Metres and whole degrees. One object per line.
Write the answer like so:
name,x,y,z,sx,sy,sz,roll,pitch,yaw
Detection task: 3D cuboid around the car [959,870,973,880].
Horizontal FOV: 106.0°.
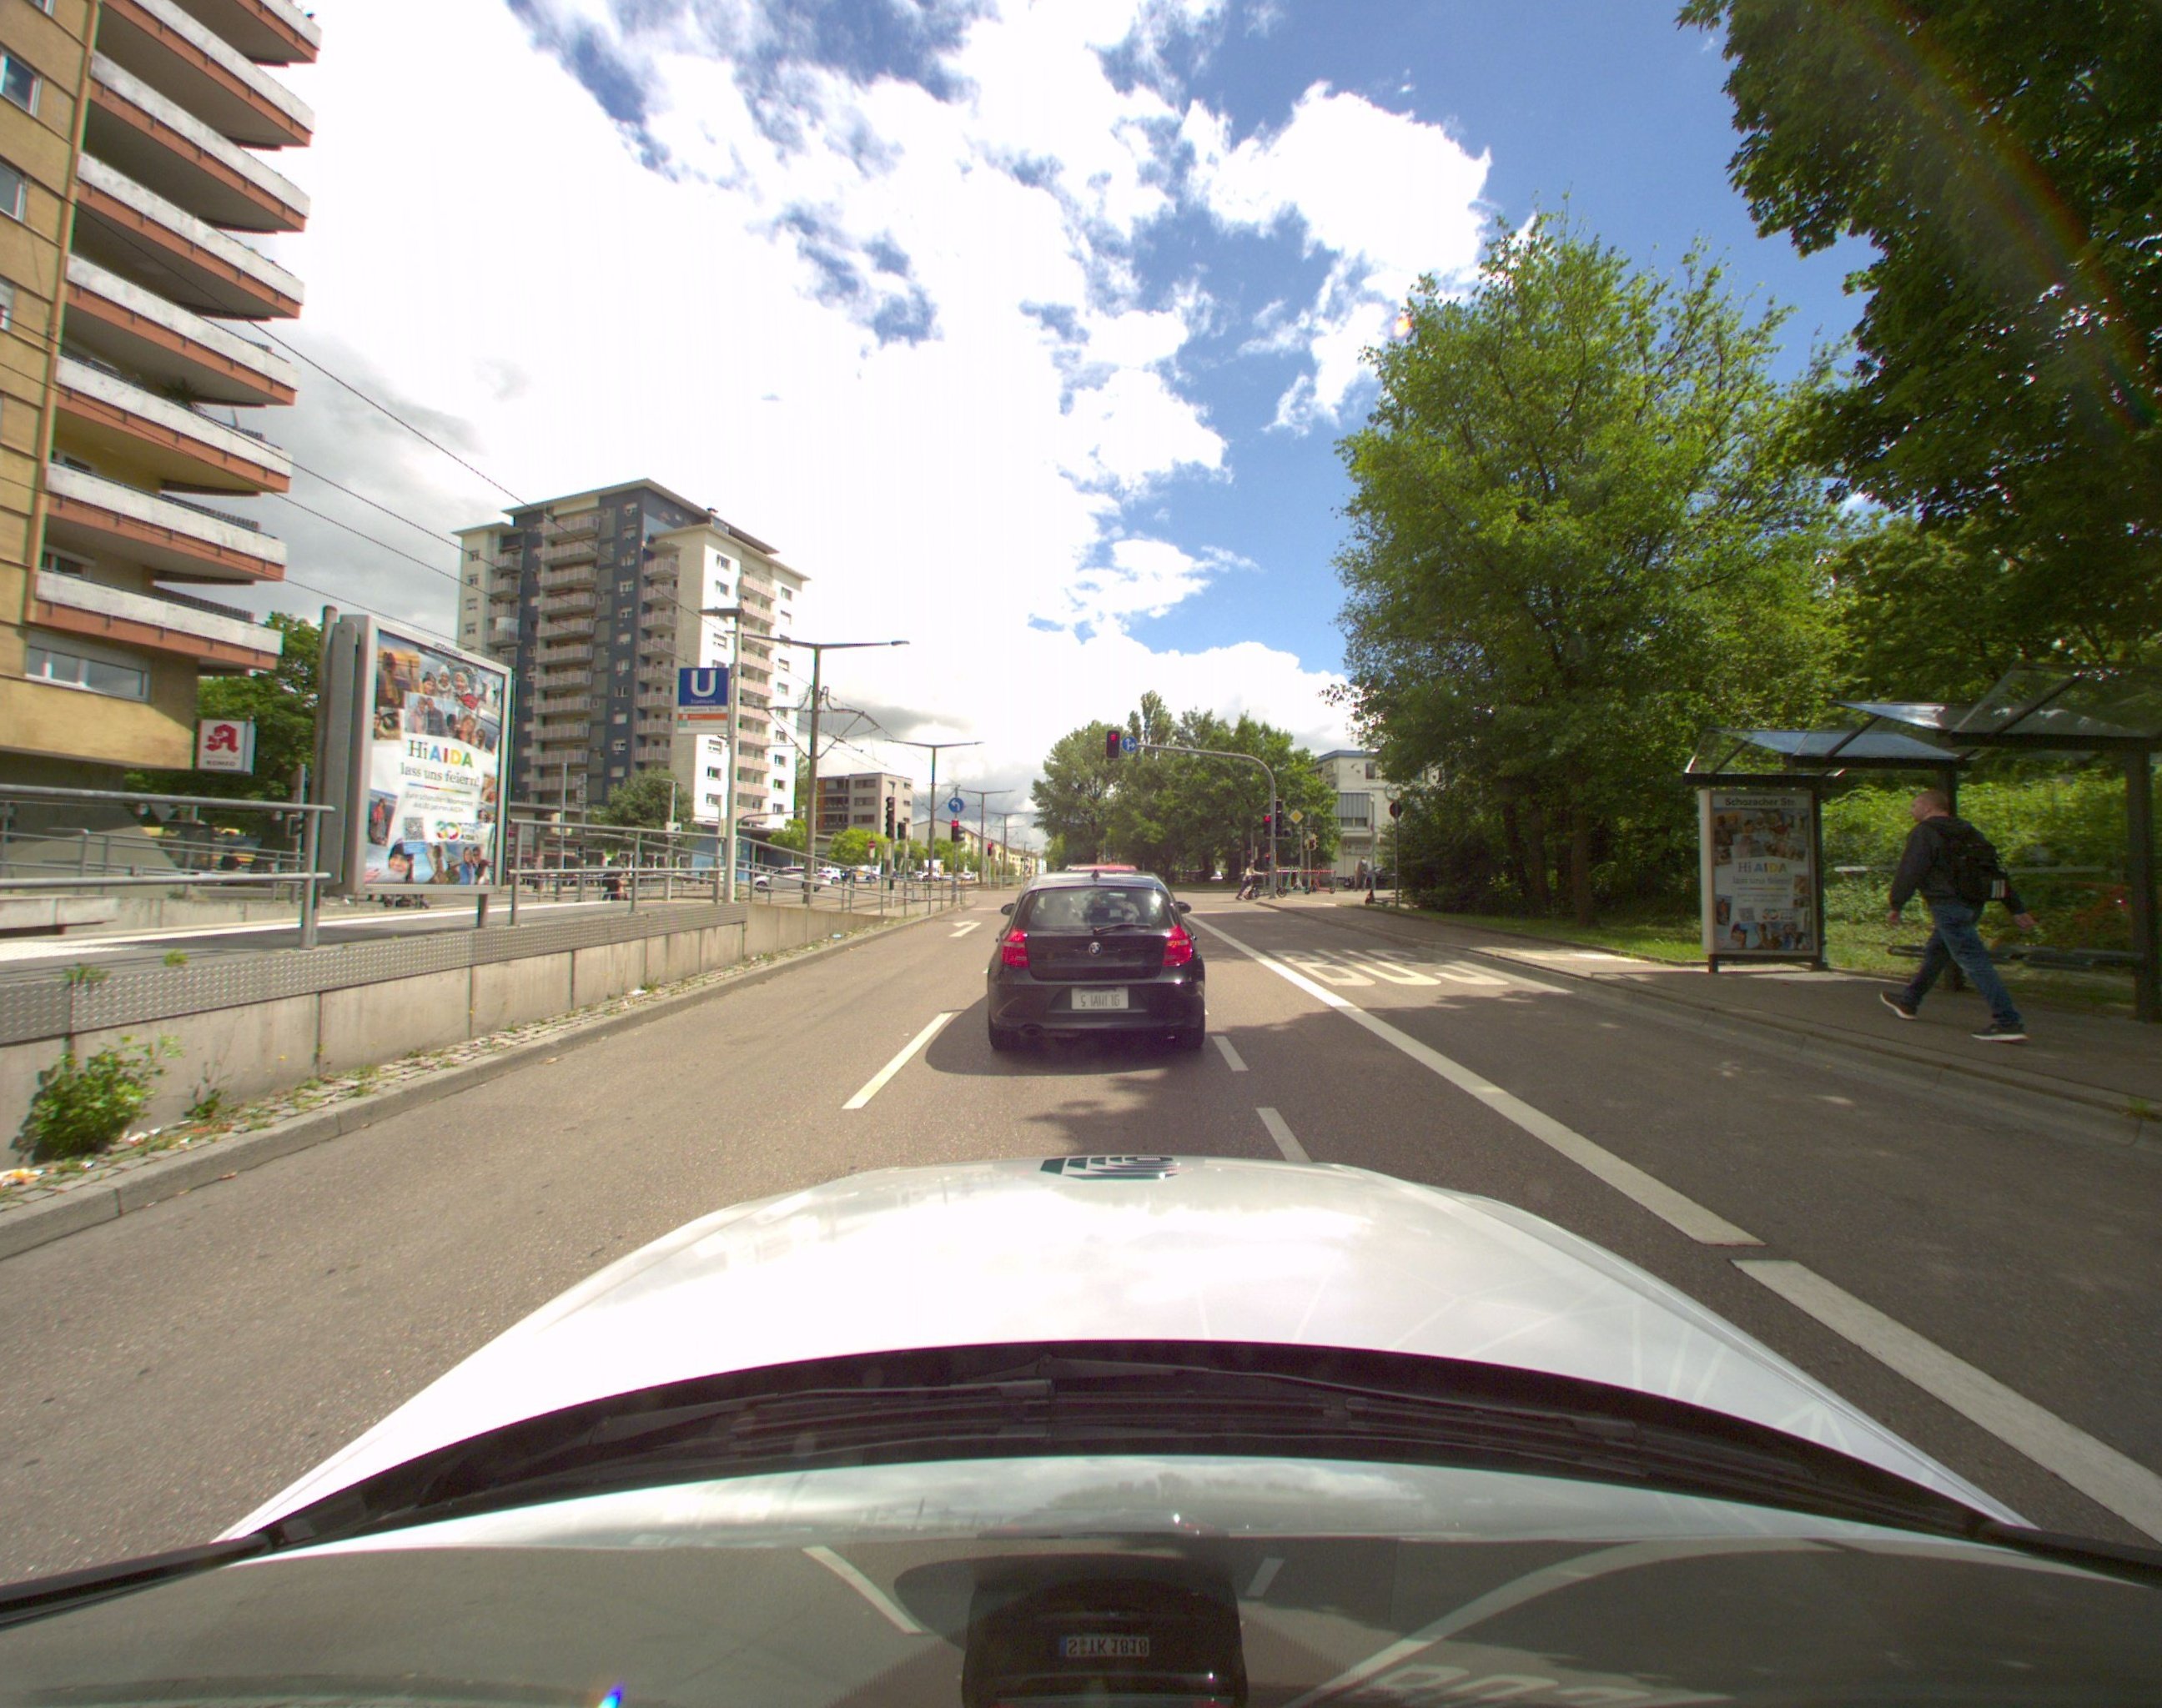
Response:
car,-21.035,3.832,149.151,1.961,1.596,3.997,0,-1,-2

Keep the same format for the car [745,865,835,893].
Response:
car,-17.158,1.460,48.190,4.631,1.480,1.997,-1,-1,-5

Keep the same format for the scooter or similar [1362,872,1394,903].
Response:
scooter or similar,10.718,1.210,29.369,1.153,1.099,0.329,0,-1,-22

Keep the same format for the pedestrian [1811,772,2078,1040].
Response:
pedestrian,6.722,0.373,6.439,0.798,1.895,1.271,1,-1,3

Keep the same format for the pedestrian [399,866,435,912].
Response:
pedestrian,-19.920,1.034,24.457,0.691,1.343,0.852,0,-1,-29

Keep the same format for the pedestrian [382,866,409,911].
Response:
pedestrian,-20.893,1.029,24.807,0.660,1.343,0.558,-1,-1,44

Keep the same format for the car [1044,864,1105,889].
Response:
car,-0.409,1.360,49.786,3.600,1.462,1.612,-1,-1,-7

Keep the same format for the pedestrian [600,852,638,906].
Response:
pedestrian,-14.826,0.804,26.133,0.680,1.696,0.866,-1,-1,39

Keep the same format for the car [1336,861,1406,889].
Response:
car,17.381,1.262,48.895,3.578,1.601,1.705,0,-1,-11

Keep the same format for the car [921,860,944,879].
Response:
car,-20.892,2.128,114.881,2.132,2.640,5.358,0,-1,0

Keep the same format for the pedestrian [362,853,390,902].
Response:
pedestrian,-23.117,0.750,26.685,0.850,1.578,0.627,-1,-1,45

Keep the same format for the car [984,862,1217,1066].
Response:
car,0.246,0.802,7.538,1.647,1.419,3.520,-1,0,4

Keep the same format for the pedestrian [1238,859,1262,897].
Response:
pedestrian,6.505,0.917,31.337,0.859,1.442,0.801,-1,-1,10

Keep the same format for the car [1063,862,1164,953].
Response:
car,0.598,0.863,14.664,1.588,1.419,3.519,-1,0,2

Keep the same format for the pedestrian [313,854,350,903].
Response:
pedestrian,-24.599,0.804,26.730,0.602,1.583,0.779,-1,-1,37

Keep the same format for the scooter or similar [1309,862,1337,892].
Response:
scooter or similar,10.287,0.965,34.636,1.107,1.258,0.331,-1,-1,-10

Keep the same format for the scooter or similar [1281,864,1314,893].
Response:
scooter or similar,8.999,1.016,33.813,1.290,1.189,0.383,-1,-1,-14

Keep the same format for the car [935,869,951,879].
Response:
car,-21.754,3.160,128.635,1.960,1.596,3.999,0,-1,0

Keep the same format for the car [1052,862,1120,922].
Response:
car,0.126,0.949,21.696,1.649,1.419,3.516,0,0,0

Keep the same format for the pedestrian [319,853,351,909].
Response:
pedestrian,-23.069,0.824,25.190,0.685,1.706,0.817,0,-1,-42

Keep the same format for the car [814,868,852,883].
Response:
car,-26.360,2.276,86.600,3.600,1.462,1.612,-1,-1,-7

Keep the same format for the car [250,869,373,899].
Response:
car,-41.986,1.627,44.553,4.571,1.526,1.939,-1,-1,-9

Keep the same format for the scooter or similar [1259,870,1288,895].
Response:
scooter or similar,7.716,1.143,32.624,1.121,0.957,0.299,-1,-1,-14

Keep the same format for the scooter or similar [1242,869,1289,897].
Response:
scooter or similar,6.991,1.097,30.904,1.785,1.051,0.408,0,0,-18

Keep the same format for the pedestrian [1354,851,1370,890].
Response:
pedestrian,13.282,0.784,38.498,0.608,1.790,0.571,3,-1,20

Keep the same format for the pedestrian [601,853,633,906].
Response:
pedestrian,-14.492,0.781,25.438,0.707,1.633,0.630,-1,-1,-43
